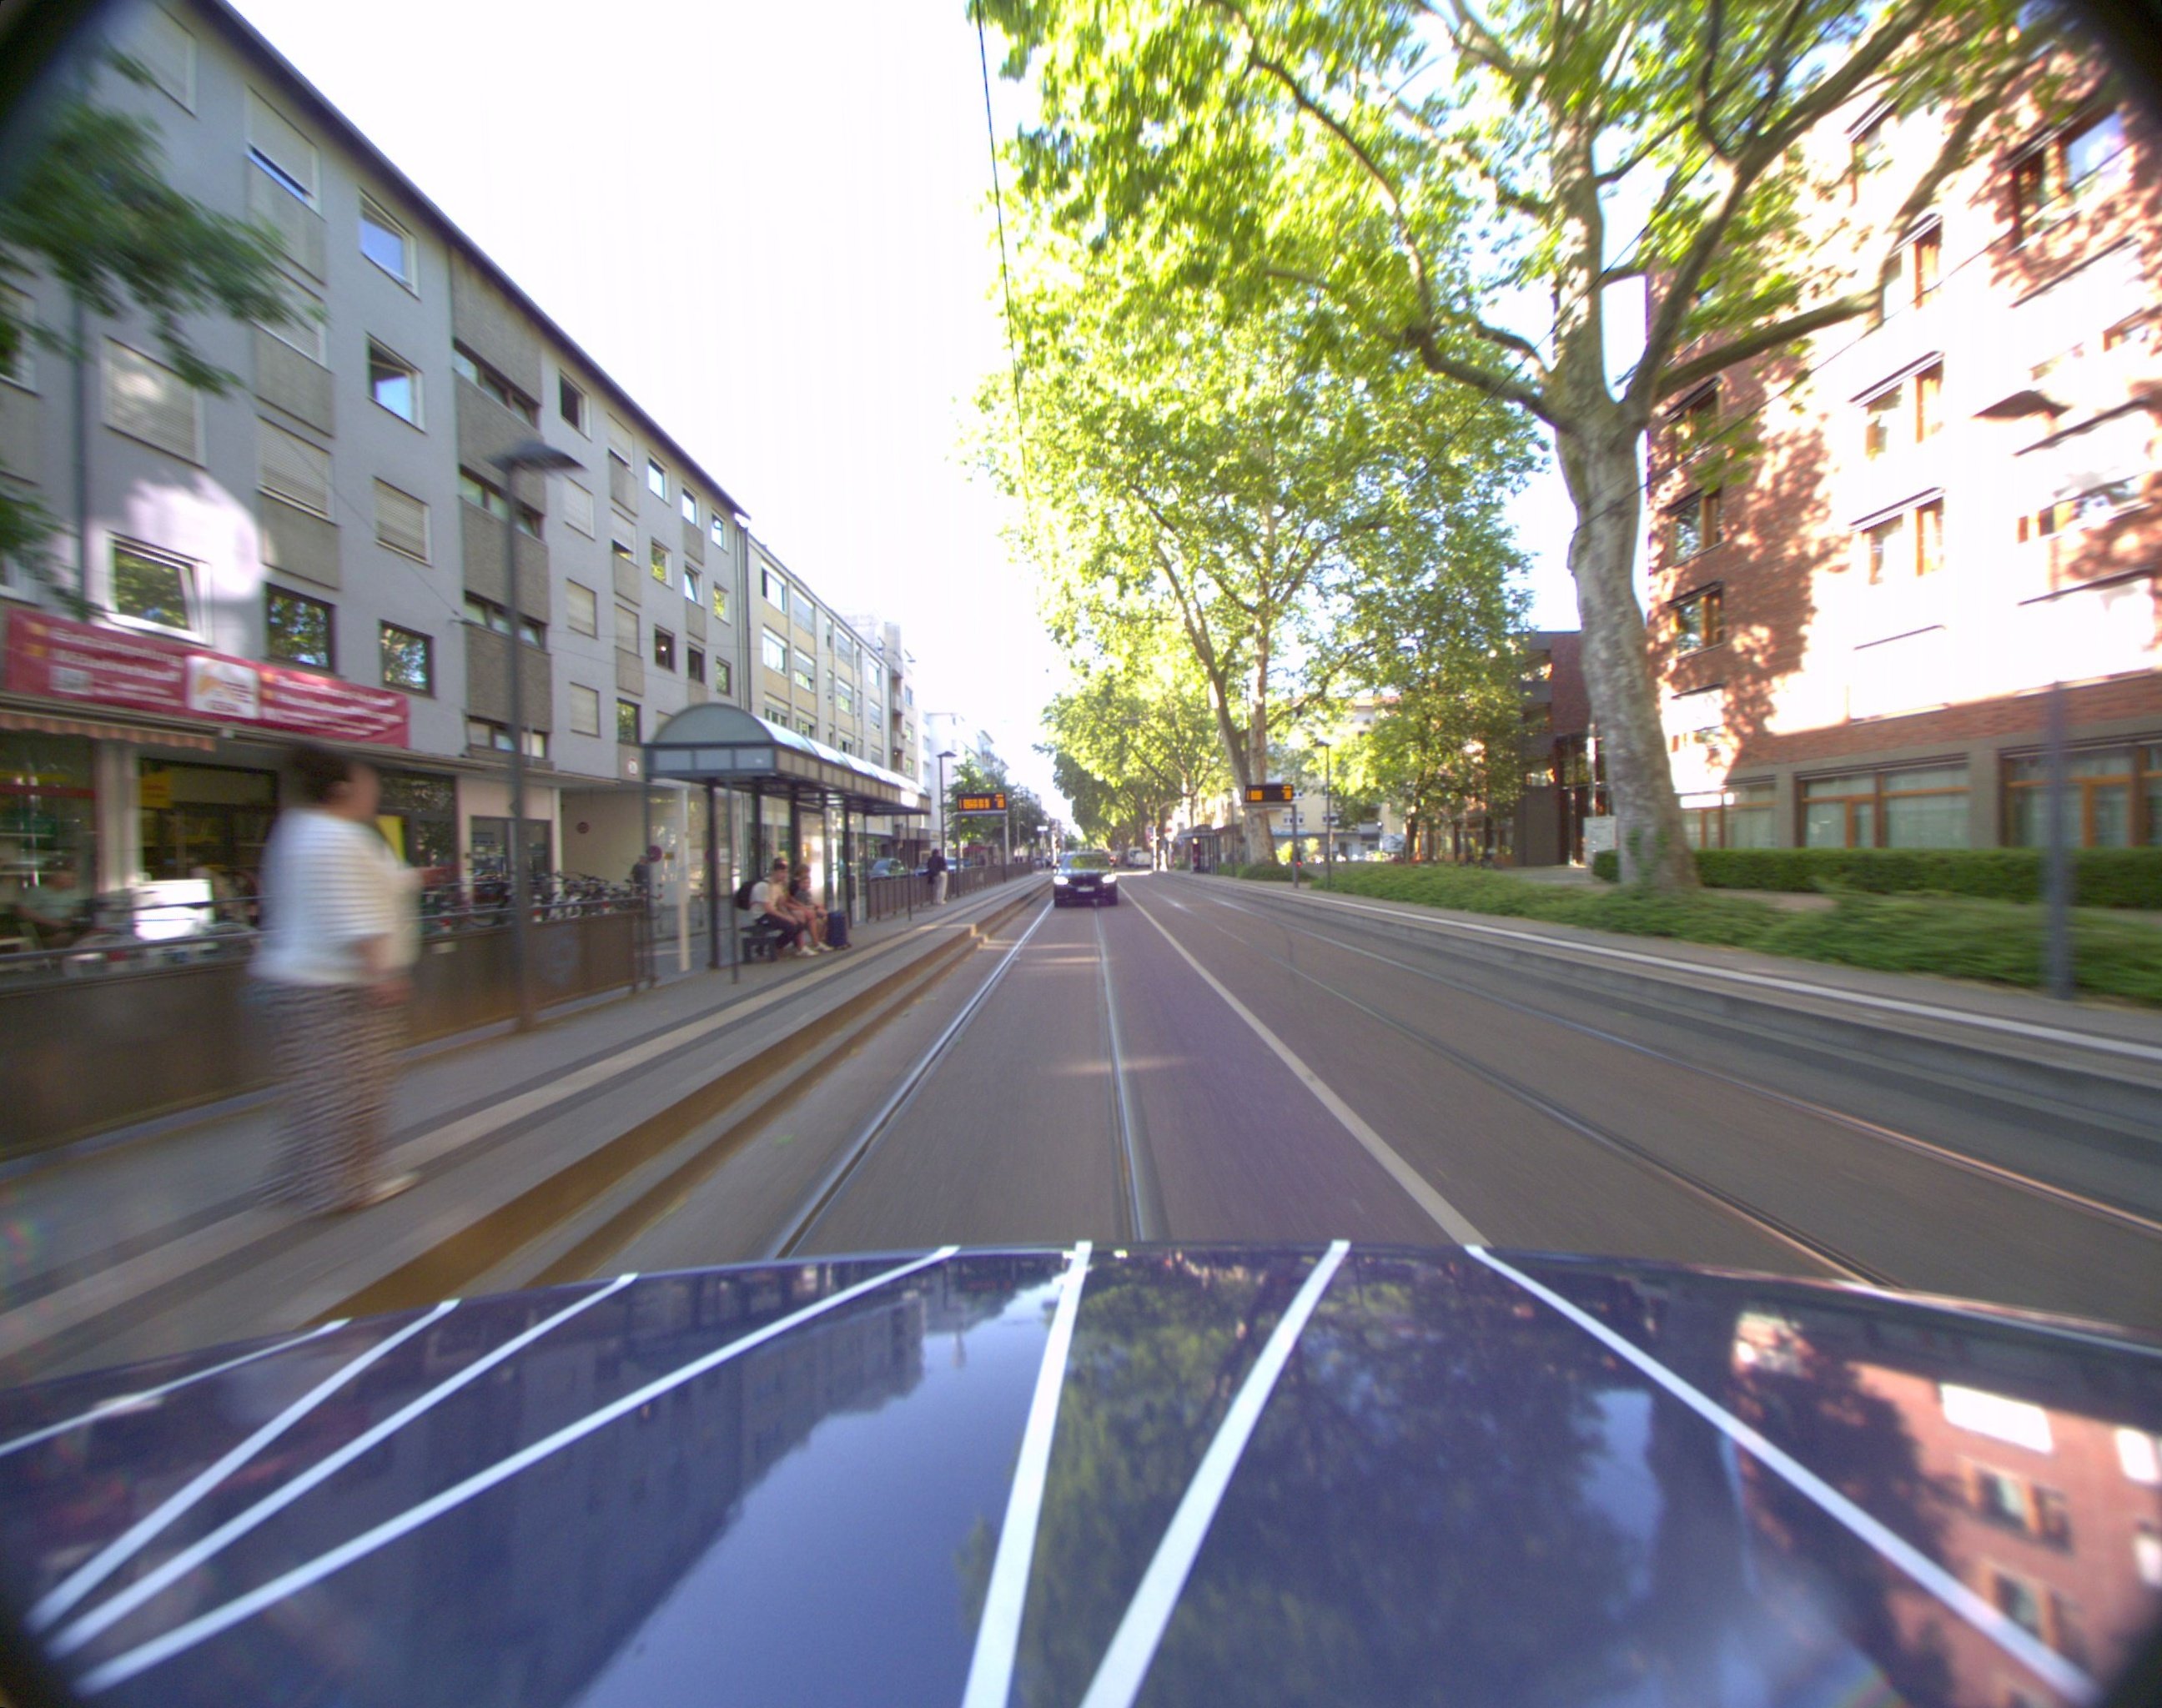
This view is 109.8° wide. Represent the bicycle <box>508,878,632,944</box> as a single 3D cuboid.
[{"bbox_3d":[-10.529,1.134,15.827,0.773,1.173,2.782,4,-1,-3],"label":"bicycle"}]

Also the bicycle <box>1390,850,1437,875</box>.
[{"bbox_3d":[17.044,0.436,39.038,2.098,1.182,0.882,-2,1,17],"label":"bicycle"}]

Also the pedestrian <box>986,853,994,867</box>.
[{"bbox_3d":[-10.903,0.698,91.296,0.752,1.645,0.970,-2,1,-1],"label":"pedestrian"}]

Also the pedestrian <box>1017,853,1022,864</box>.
[{"bbox_3d":[-10.000,0.726,124.291,0.685,1.645,0.836,-2,1,-1],"label":"pedestrian"}]

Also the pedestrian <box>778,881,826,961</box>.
[{"bbox_3d":[-3.894,0.926,10.636,0.522,1.049,0.425,-2,1,-10],"label":"pedestrian"}]

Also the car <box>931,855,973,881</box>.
[{"bbox_3d":[-8.666,0.881,51.302,1.998,1.572,4.000,-2,1,1],"label":"car"}]

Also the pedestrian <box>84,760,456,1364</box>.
[{"bbox_3d":[-2.702,0.583,2.654,0.641,1.703,0.834,-3,1,-33],"label":"pedestrian"}]

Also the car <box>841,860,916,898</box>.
[{"bbox_3d":[-9.287,1.107,35.301,1.958,1.474,4.660,-3,0,3],"label":"car"}]

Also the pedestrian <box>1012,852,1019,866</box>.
[{"bbox_3d":[-8.317,0.630,96.820,0.752,1.645,0.970,-2,1,-1],"label":"pedestrian"}]

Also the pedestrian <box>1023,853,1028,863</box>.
[{"bbox_3d":[-9.045,0.687,124.349,0.685,1.645,0.836,-2,1,-1],"label":"pedestrian"}]

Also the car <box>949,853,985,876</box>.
[{"bbox_3d":[-8.718,0.784,58.283,1.998,1.583,4.000,-2,1,1],"label":"car"}]

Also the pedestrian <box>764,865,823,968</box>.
[{"bbox_3d":[-3.822,0.816,10.139,0.586,1.297,0.526,-3,1,-10],"label":"pedestrian"}]

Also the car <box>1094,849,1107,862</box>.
[{"bbox_3d":[3.436,0.258,135.464,2.142,2.274,4.965,-3,0,0],"label":"car"}]

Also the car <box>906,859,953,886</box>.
[{"bbox_3d":[-9.093,1.079,45.800,1.899,1.477,4.000,-2,1,1],"label":"car"}]

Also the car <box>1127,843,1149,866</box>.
[{"bbox_3d":[7.396,0.101,99.719,2.429,2.833,5.072,-3,1,0],"label":"car"}]

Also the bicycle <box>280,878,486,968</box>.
[{"bbox_3d":[-10.916,1.020,12.095,0.773,1.173,2.782,4,-1,-3],"label":"bicycle"}]

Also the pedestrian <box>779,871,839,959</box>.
[{"bbox_3d":[-3.962,0.865,11.107,0.680,1.198,0.648,-2,1,-10],"label":"pedestrian"}]

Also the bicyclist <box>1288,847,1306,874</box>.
[{"bbox_3d":[12.459,0.385,43.825,0.735,1.506,0.892,-2,1,4],"label":"bicyclist"}]

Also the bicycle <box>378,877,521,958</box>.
[{"bbox_3d":[-10.921,1.044,13.305,0.774,1.173,2.779,4,-1,-15],"label":"bicycle"}]

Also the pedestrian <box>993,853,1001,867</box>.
[{"bbox_3d":[-9.659,0.679,87.289,0.752,1.645,0.970,-2,1,-1],"label":"pedestrian"}]

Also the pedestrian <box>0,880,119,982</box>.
[{"bbox_3d":[-13.118,0.965,9.730,0.680,1.198,0.648,-2,1,-10],"label":"pedestrian"}]

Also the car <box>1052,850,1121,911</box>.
[{"bbox_3d":[0.215,0.765,24.920,1.937,1.718,5.072,-3,0,1],"label":"car"}]

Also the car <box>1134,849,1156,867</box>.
[{"bbox_3d":[7.527,0.450,89.540,2.041,1.881,5.072,-3,0,0],"label":"car"}]

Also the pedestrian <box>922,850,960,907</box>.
[{"bbox_3d":[-3.990,0.680,21.684,0.648,1.567,0.855,-2,1,19],"label":"pedestrian"}]

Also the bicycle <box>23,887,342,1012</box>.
[{"bbox_3d":[-10.918,1.082,9.479,0.773,1.173,2.782,2,0,-3],"label":"bicycle"}]

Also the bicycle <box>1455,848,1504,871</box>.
[{"bbox_3d":[20.341,0.283,38.805,0.823,1.088,2.033,-3,1,-37],"label":"bicycle"}]

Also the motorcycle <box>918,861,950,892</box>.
[{"bbox_3d":[-7.303,1.088,37.857,1.054,1.446,2.208,-2,1,1],"label":"motorcycle"}]

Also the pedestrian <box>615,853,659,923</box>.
[{"bbox_3d":[-11.844,0.892,20.300,0.773,1.794,0.679,-3,2,-15],"label":"pedestrian"}]

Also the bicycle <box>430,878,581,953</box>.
[{"bbox_3d":[-10.652,1.084,14.256,0.773,1.173,2.782,4,-1,-3],"label":"bicycle"}]

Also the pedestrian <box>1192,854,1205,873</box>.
[{"bbox_3d":[7.368,0.594,47.630,0.708,1.197,0.473,-2,1,2],"label":"pedestrian"}]

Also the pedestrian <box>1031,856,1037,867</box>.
[{"bbox_3d":[-6.679,1.055,108.019,0.752,1.645,0.970,-2,1,-1],"label":"pedestrian"}]

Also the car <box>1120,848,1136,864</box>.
[{"bbox_3d":[7.253,0.245,117.705,2.142,2.274,4.965,-3,0,0],"label":"car"}]

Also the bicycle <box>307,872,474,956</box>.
[{"bbox_3d":[-11.423,0.939,12.750,0.774,1.173,2.779,4,-1,-14],"label":"bicycle"}]

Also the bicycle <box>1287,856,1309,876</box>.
[{"bbox_3d":[12.468,0.663,43.788,0.748,1.088,2.039,-2,1,3],"label":"bicycle"}]

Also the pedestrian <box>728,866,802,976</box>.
[{"bbox_3d":[-3.991,0.829,9.626,0.721,1.318,0.493,-2,1,-10],"label":"pedestrian"}]

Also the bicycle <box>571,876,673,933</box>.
[{"bbox_3d":[-10.730,1.145,17.922,0.773,1.173,2.782,4,-1,-3],"label":"bicycle"}]

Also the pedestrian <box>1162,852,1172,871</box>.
[{"bbox_3d":[7.385,0.644,65.396,0.708,1.585,0.561,-2,1,2],"label":"pedestrian"}]
